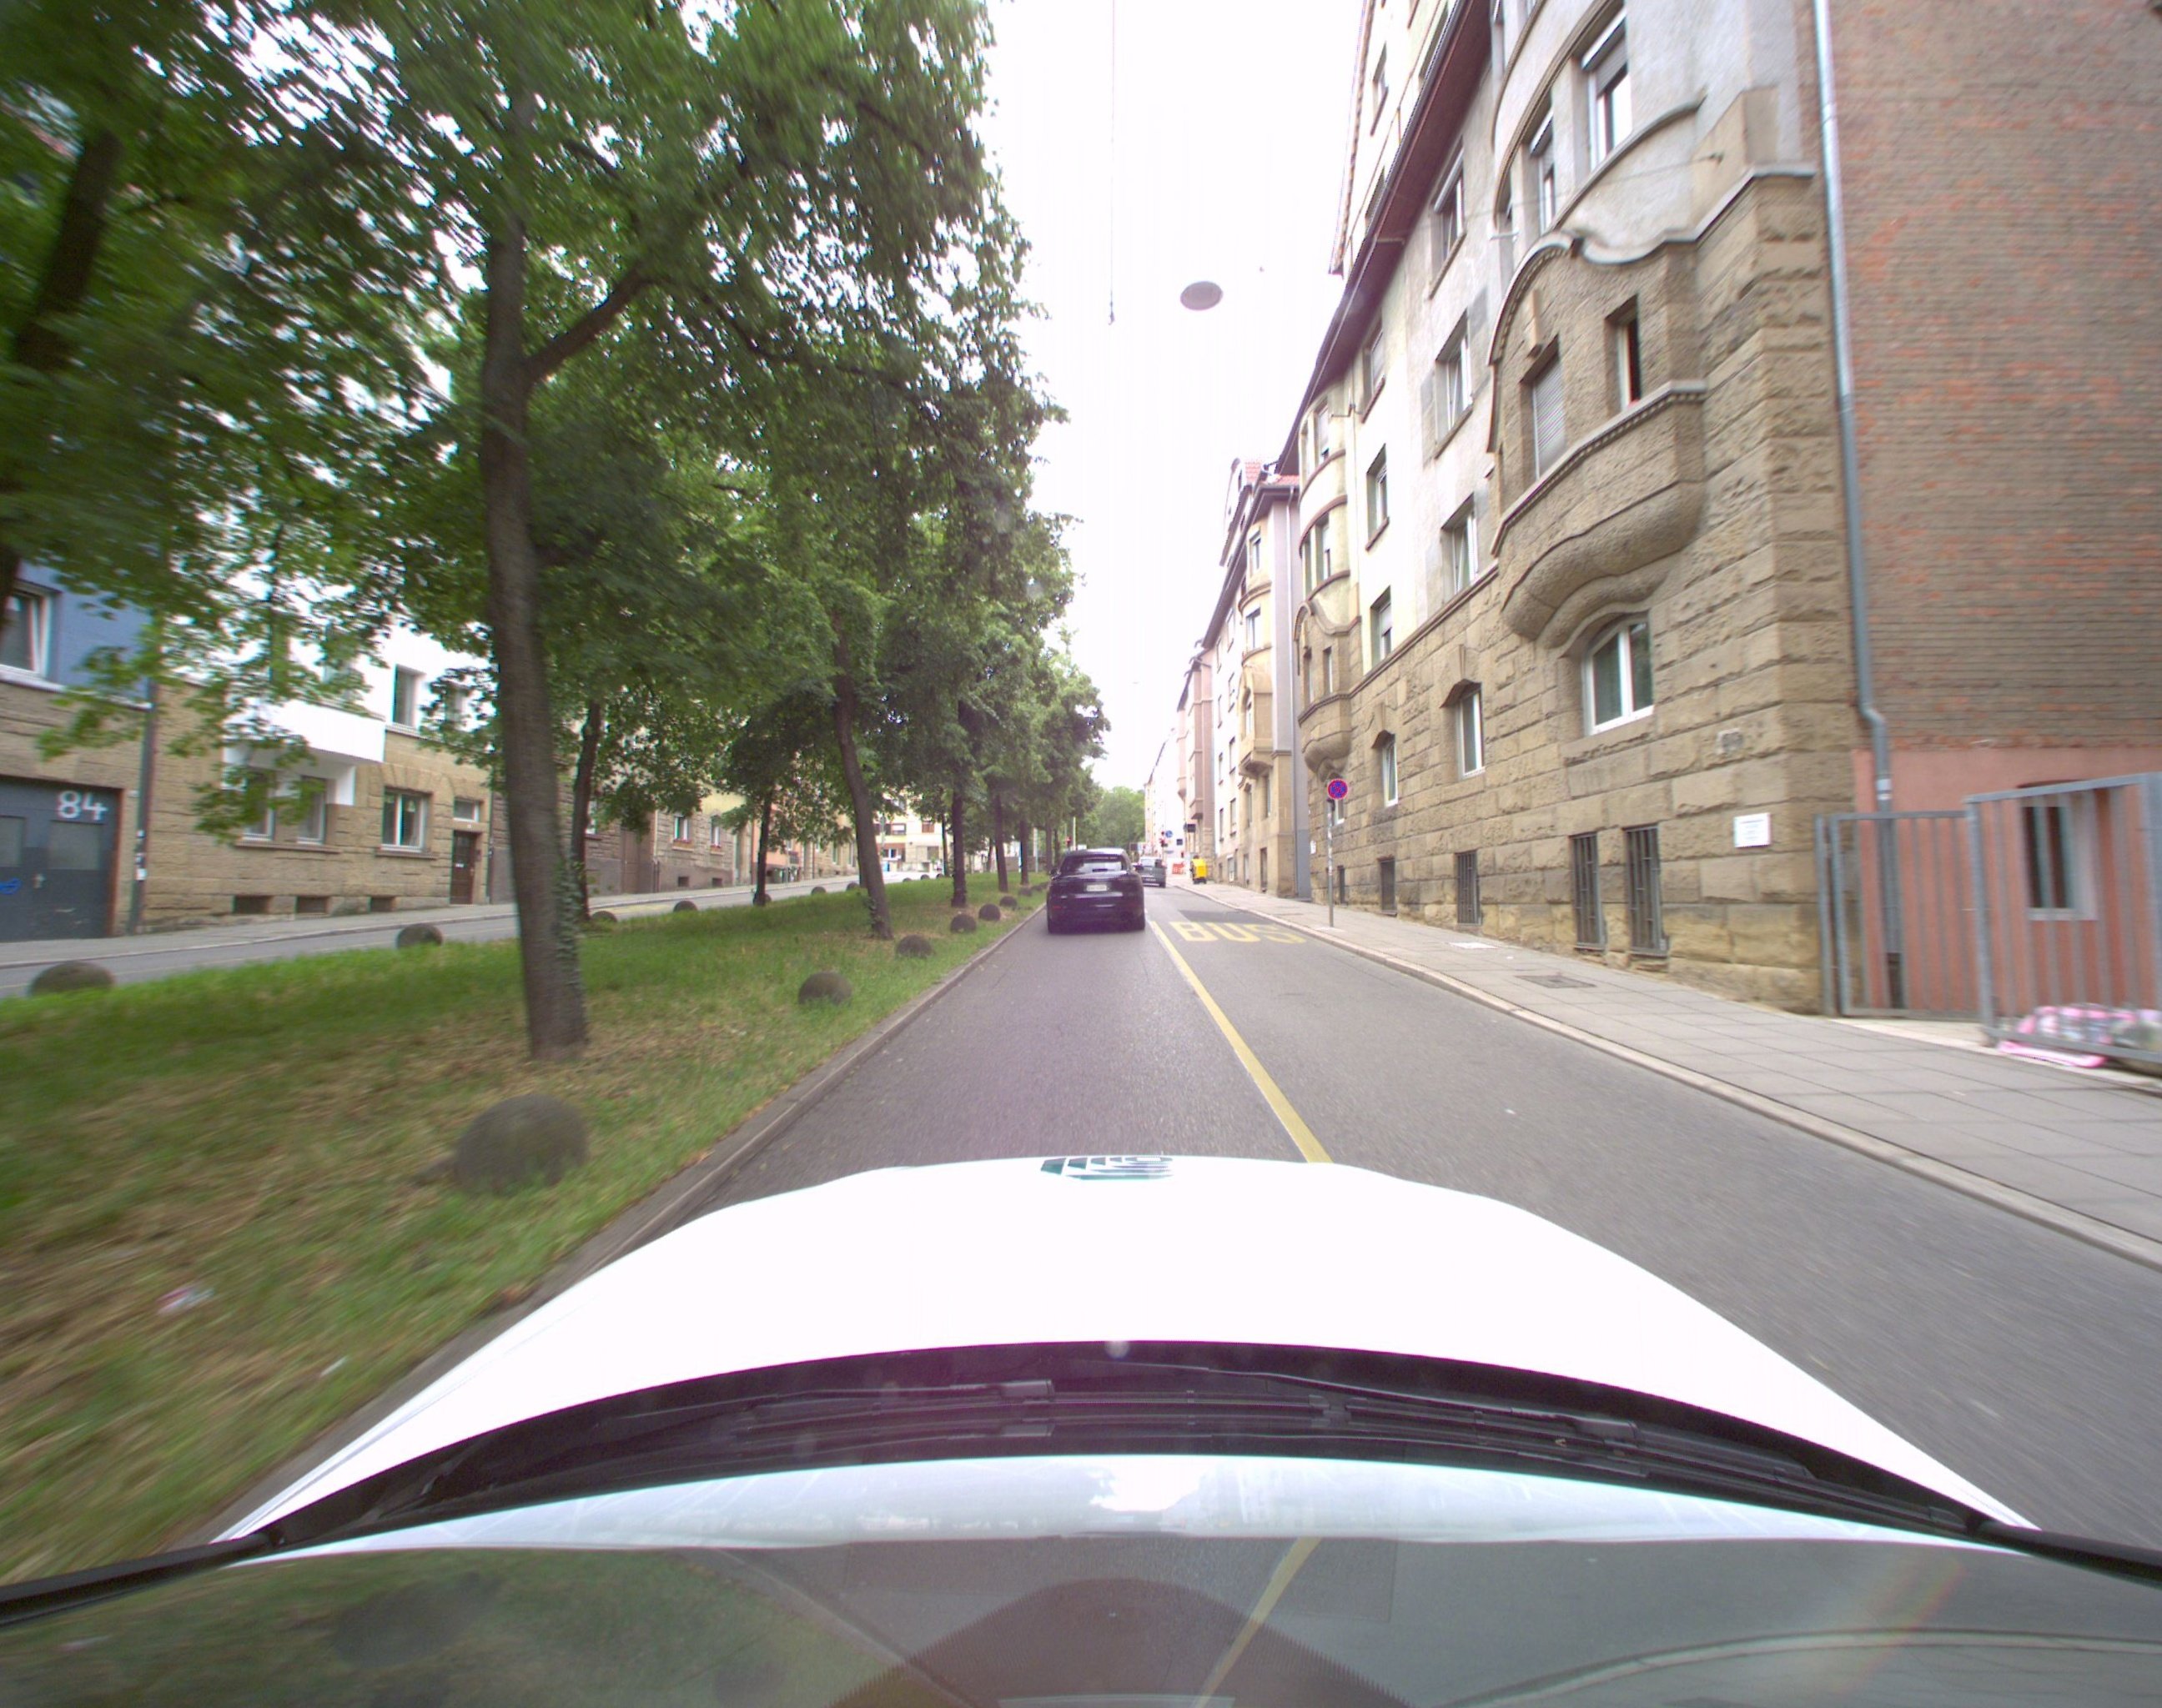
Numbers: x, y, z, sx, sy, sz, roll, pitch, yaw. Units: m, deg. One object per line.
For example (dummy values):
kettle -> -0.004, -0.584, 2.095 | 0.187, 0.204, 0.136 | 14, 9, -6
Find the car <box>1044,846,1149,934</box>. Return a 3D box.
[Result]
car -> 0.379, 0.697, 17.674 | 1.986, 1.653, 4.003 | -1, 0, 2

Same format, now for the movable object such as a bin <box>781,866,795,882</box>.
movable object such as a bin -> -16.591, 1.120, 46.145 | 0.607, 0.904, 0.601 | 1, -1, -2

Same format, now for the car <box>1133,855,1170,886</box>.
car -> 3.819, 0.877, 44.392 | 1.746, 1.593, 3.631 | 1, -1, 1

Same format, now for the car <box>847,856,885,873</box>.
car -> -23.251, 1.134, 87.927 | 3.948, 1.665, 1.894 | -2, -3, 35

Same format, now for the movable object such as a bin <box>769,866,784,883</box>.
movable object such as a bin -> -16.665, 1.113, 44.616 | 0.607, 0.904, 0.601 | 1, -1, -2

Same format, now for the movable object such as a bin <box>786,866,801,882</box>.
movable object such as a bin -> -16.555, 1.130, 46.877 | 0.607, 0.904, 0.601 | 1, -1, -2

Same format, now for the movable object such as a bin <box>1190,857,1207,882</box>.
movable object such as a bin -> 6.844, 0.898, 47.447 | 0.717, 1.421, 1.693 | -1, -2, 0

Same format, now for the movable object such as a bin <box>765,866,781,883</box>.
movable object such as a bin -> -16.630, 1.101, 43.983 | 0.607, 0.904, 0.601 | 1, -1, -2

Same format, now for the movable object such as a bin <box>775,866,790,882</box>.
movable object such as a bin -> -16.620, 1.120, 45.347 | 0.607, 0.904, 0.601 | 1, -1, -2
